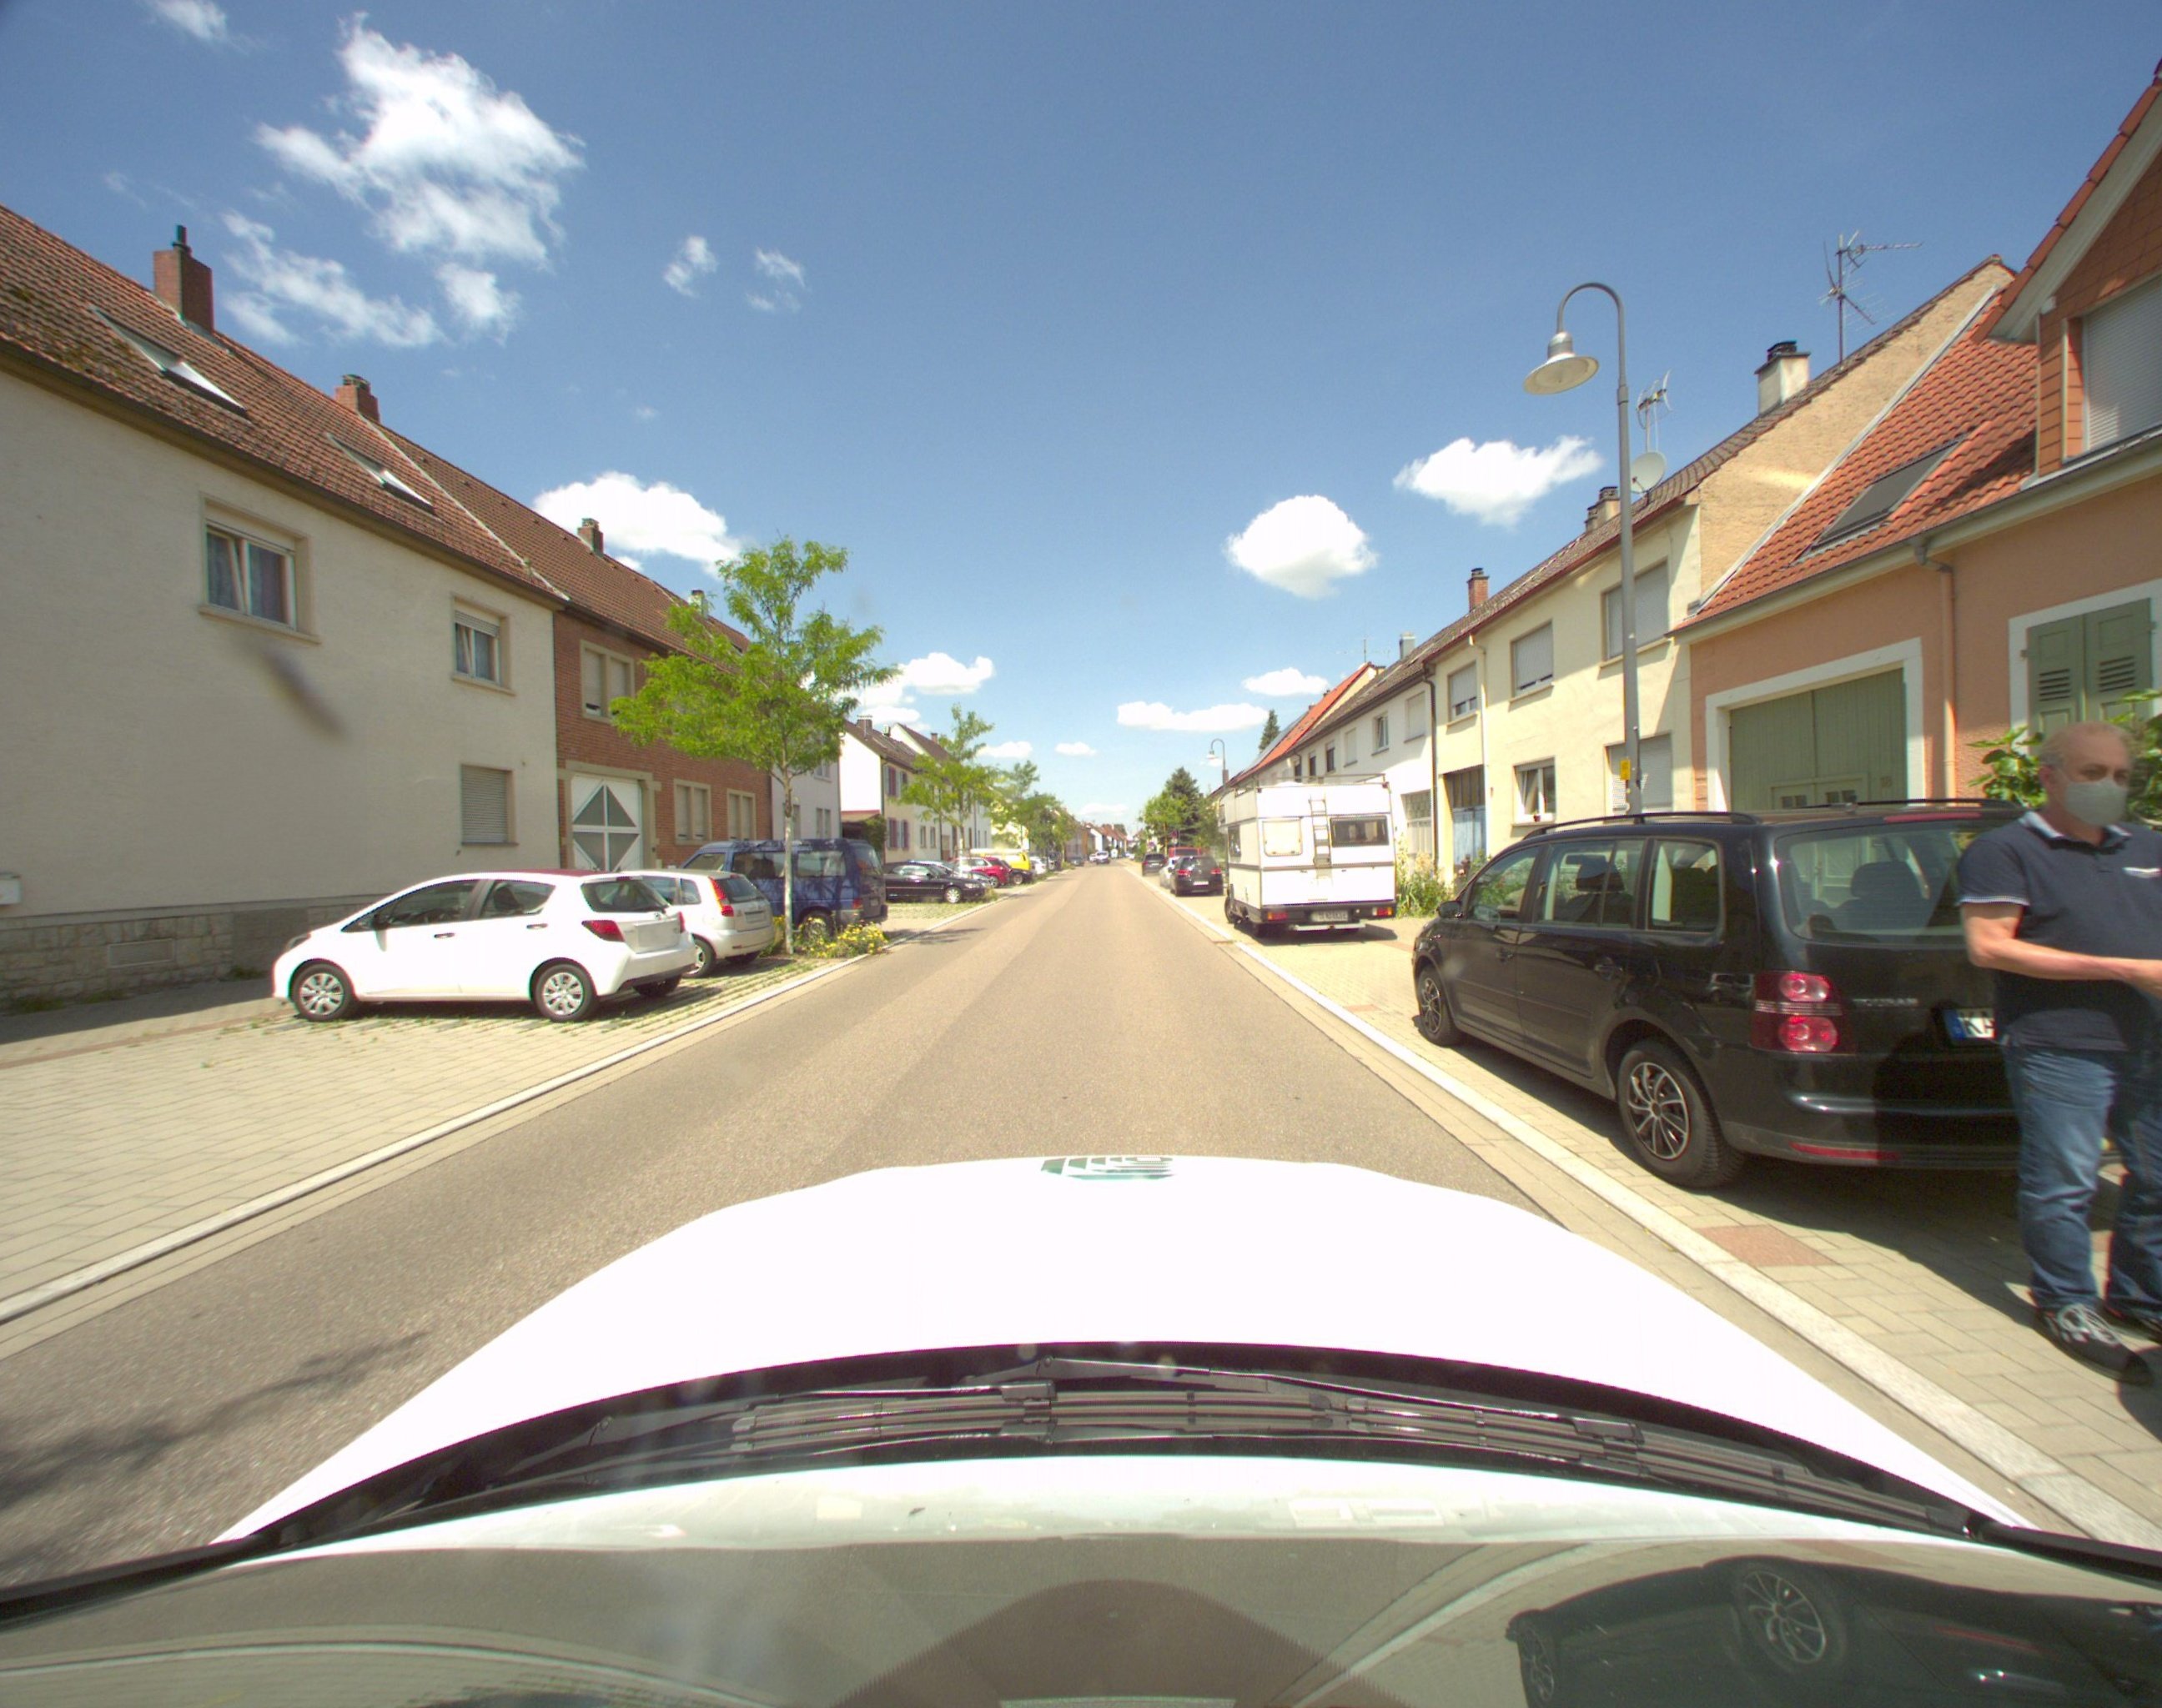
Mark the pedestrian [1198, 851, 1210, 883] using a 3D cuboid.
[{"bbox_3d":[6.794,0.698,45.139,0.555,1.749,0.673,-2,-1,2],"label":"pedestrian"}]

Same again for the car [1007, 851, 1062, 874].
[{"bbox_3d":[-4.057,0.753,71.715,4.682,1.923,1.938,0,-1,1],"label":"car"}]

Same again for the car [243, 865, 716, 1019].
[{"bbox_3d":[-6.360,0.871,8.926,3.899,1.488,1.774,0,0,3],"label":"car"}]

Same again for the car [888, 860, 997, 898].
[{"bbox_3d":[-5.457,0.983,32.429,4.042,1.478,1.775,0,0,-1],"label":"car"}]

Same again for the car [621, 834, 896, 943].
[{"bbox_3d":[-6.195,0.642,16.019,4.593,1.996,1.955,0,0,3],"label":"car"}]

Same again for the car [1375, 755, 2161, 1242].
[{"bbox_3d":[3.413,0.520,5.034,1.760,1.705,4.327,-1,0,2],"label":"car"}]

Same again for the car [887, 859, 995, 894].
[{"bbox_3d":[-6.009,0.971,35.407,4.392,1.478,1.774,0,0,-2],"label":"car"}]

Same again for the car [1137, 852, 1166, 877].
[{"bbox_3d":[4.959,0.715,57.744,1.856,1.635,4.451,-3,0,4],"label":"car"}]

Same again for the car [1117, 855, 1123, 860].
[{"bbox_3d":[12.206,1.234,257.288,1.683,1.504,3.777,0,-1,6],"label":"car"}]

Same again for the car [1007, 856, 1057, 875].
[{"bbox_3d":[-4.103,1.002,68.923,4.172,1.569,1.772,0,-1,-2],"label":"car"}]

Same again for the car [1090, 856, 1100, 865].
[{"bbox_3d":[2.891,1.275,165.551,1.841,1.659,4.005,1,0,5],"label":"car"}]

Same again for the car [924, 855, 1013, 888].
[{"bbox_3d":[-5.697,0.883,41.606,4.238,1.611,1.843,0,0,1],"label":"car"}]

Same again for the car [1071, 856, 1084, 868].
[{"bbox_3d":[-0.512,1.143,116.685,1.811,1.433,4.138,3,1,-1],"label":"car"}]

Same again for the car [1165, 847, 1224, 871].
[{"bbox_3d":[9.362,0.435,67.480,4.603,1.893,2.020,0,-1,0],"label":"car"}]

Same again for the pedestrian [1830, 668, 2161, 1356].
[{"bbox_3d":[2.928,0.423,2.486,0.713,1.853,0.578,-1,-1,2],"label":"pedestrian"}]

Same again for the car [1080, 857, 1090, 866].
[{"bbox_3d":[0.744,1.387,153.636,1.803,1.609,4.002,1,0,3],"label":"car"}]

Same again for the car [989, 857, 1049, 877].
[{"bbox_3d":[-4.696,1.014,62.052,4.276,1.468,1.775,0,-1,3],"label":"car"}]

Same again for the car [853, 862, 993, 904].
[{"bbox_3d":[-5.447,0.981,28.480,4.507,1.425,1.796,0,0,1],"label":"car"}]

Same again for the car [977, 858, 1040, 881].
[{"bbox_3d":[-4.819,1.019,54.034,4.067,1.468,1.749,0,0,-7],"label":"car"}]

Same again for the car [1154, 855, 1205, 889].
[{"bbox_3d":[4.521,0.808,37.848,1.826,1.465,4.519,-1,0,0],"label":"car"}]

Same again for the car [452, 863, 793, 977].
[{"bbox_3d":[-6.431,0.887,11.711,3.899,1.488,1.774,0,0,3],"label":"car"}]

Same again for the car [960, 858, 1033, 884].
[{"bbox_3d":[-4.820,0.945,46.883,3.995,1.459,1.756,0,0,1],"label":"car"}]

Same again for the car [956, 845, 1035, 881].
[{"bbox_3d":[-5.161,0.549,49.519,4.491,2.177,1.926,0,0,1],"label":"car"}]

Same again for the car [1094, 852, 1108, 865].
[{"bbox_3d":[2.995,0.681,122.564,2.015,1.950,4.899,-1,-1,1],"label":"car"}]

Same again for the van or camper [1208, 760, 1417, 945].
[{"bbox_3d":[4.091,-0.025,15.713,2.464,2.810,5.792,-2,0,2],"label":"van or camper"}]

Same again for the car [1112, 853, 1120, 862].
[{"bbox_3d":[9.986,1.024,235.008,2.035,2.312,3.777,0,-1,6],"label":"car"}]

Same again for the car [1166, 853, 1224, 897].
[{"bbox_3d":[4.213,0.741,30.634,1.760,1.529,4.009,-1,0,2],"label":"car"}]
